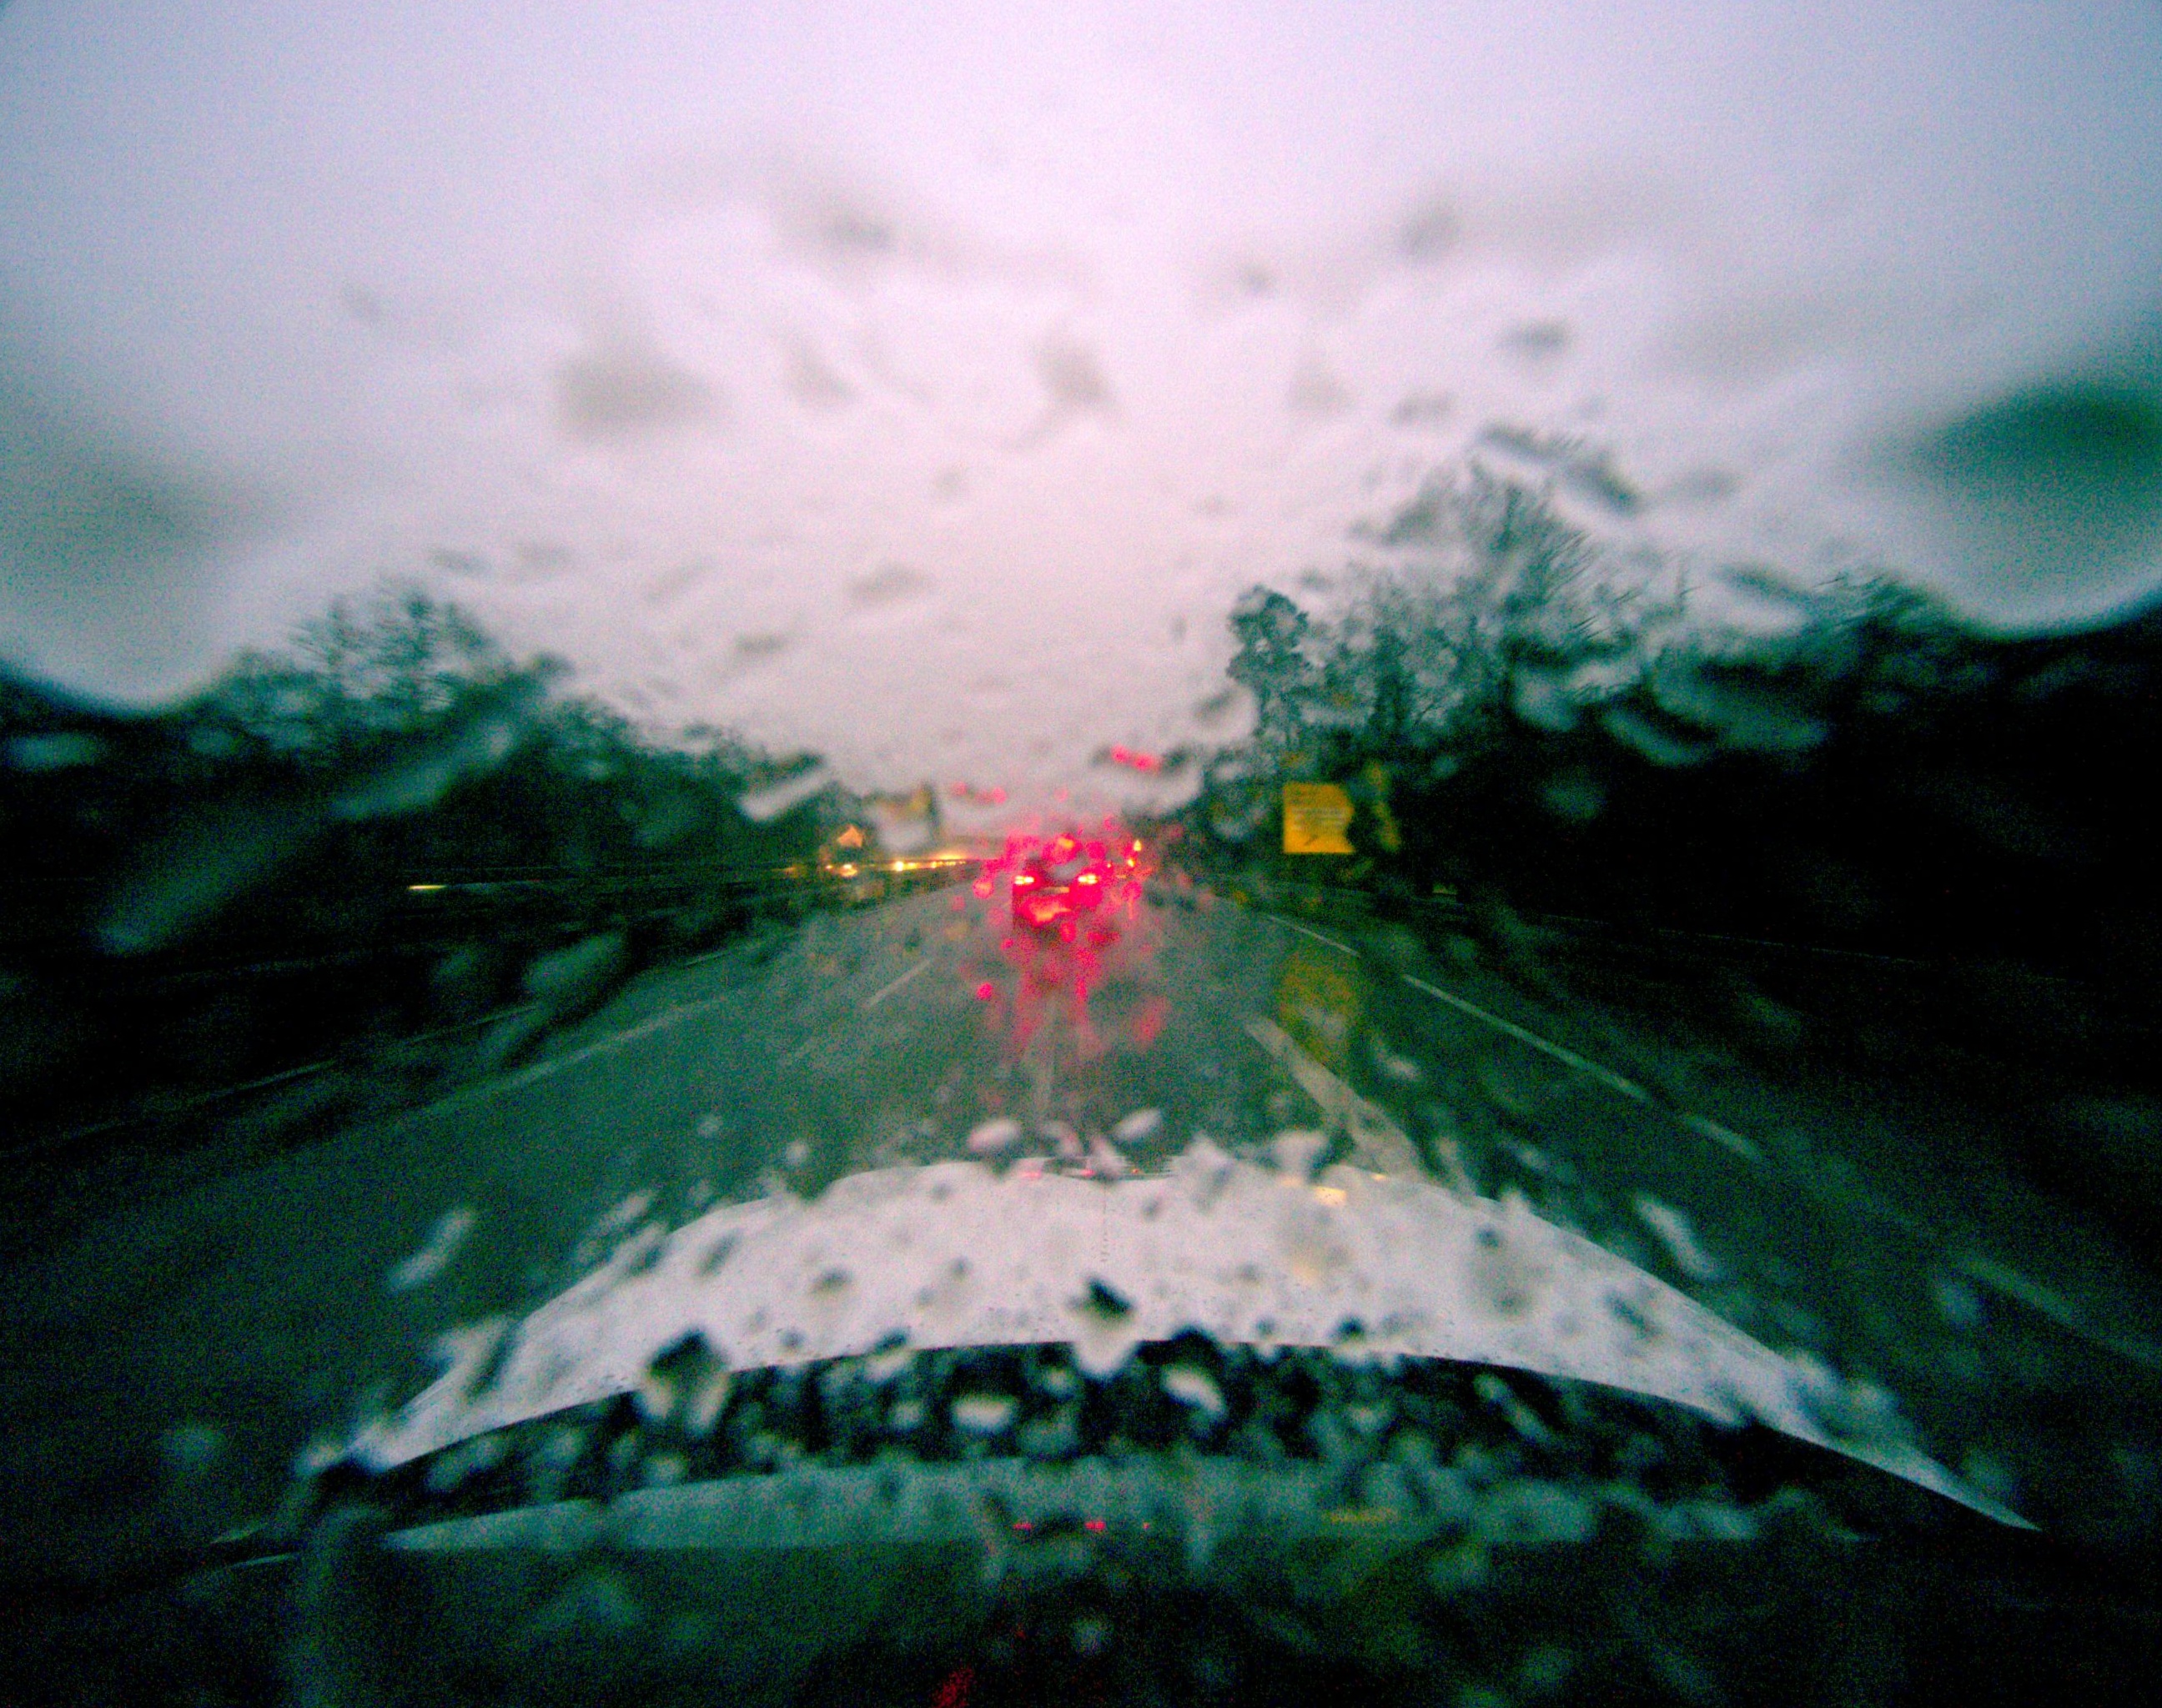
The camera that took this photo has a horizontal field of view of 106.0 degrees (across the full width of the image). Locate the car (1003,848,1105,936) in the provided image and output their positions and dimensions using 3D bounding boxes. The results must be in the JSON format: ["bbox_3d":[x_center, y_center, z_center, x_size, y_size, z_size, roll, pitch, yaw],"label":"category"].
[{"bbox_3d":[-0.537,0.759,17.994,1.986,1.715,3.829,-1,0,0],"label":"car"}]

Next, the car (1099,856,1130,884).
[{"bbox_3d":[1.771,0.828,43.306,1.563,1.408,3.648,-1,0,2],"label":"car"}]
